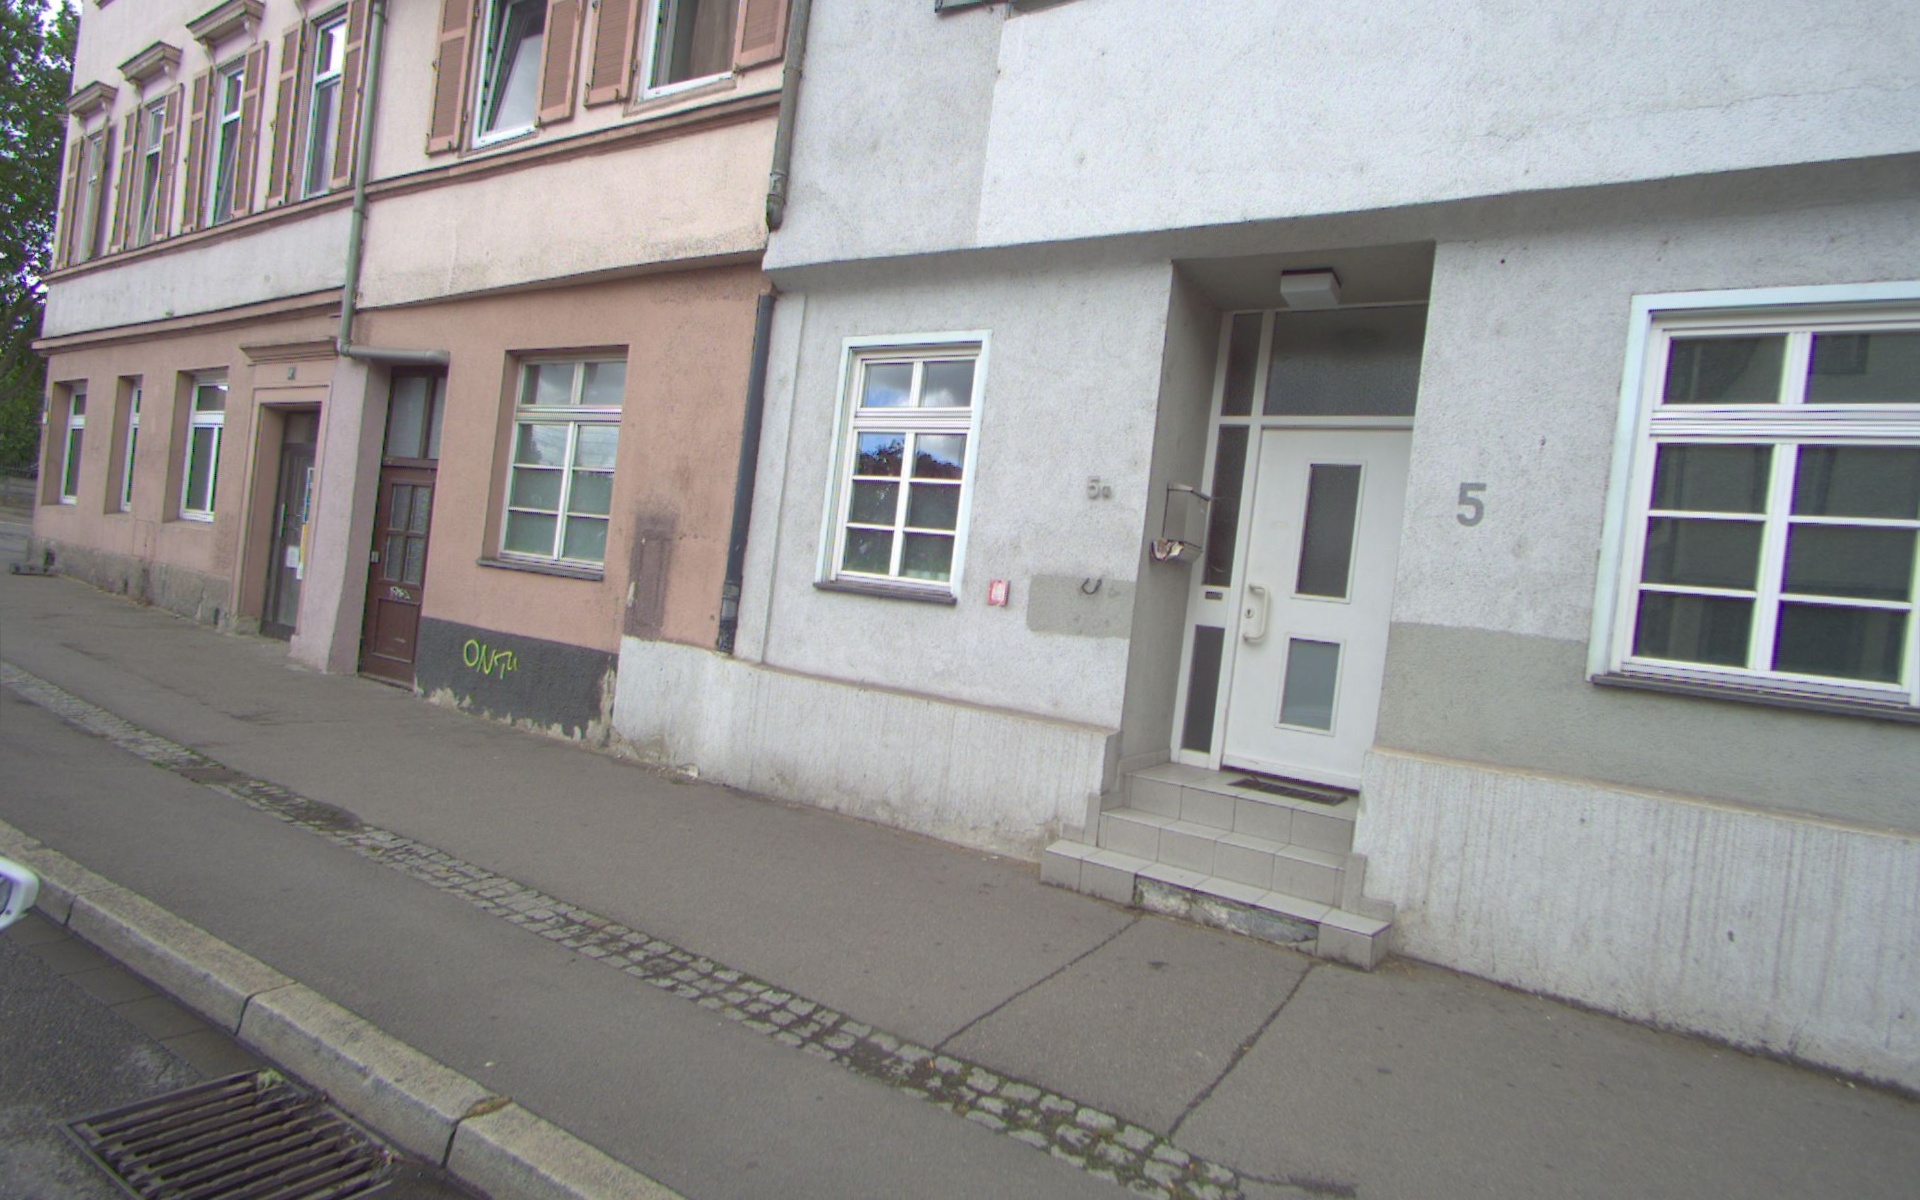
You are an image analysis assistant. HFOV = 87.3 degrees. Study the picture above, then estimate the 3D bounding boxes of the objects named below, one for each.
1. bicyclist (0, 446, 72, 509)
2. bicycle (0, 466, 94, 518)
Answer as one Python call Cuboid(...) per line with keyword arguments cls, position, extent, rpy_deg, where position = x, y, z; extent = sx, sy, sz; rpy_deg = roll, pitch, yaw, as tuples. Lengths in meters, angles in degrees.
Cuboid(cls="bicyclist", position=(-37.313, -4.918, 40.658), extent=(1.224, 2.182, 1.569), rpy_deg=(7, 0, 18))
Cuboid(cls="bicycle", position=(-37.371, -4.373, 40.694), extent=(1.443, 1.588, 3.156), rpy_deg=(7, -1, 18))
